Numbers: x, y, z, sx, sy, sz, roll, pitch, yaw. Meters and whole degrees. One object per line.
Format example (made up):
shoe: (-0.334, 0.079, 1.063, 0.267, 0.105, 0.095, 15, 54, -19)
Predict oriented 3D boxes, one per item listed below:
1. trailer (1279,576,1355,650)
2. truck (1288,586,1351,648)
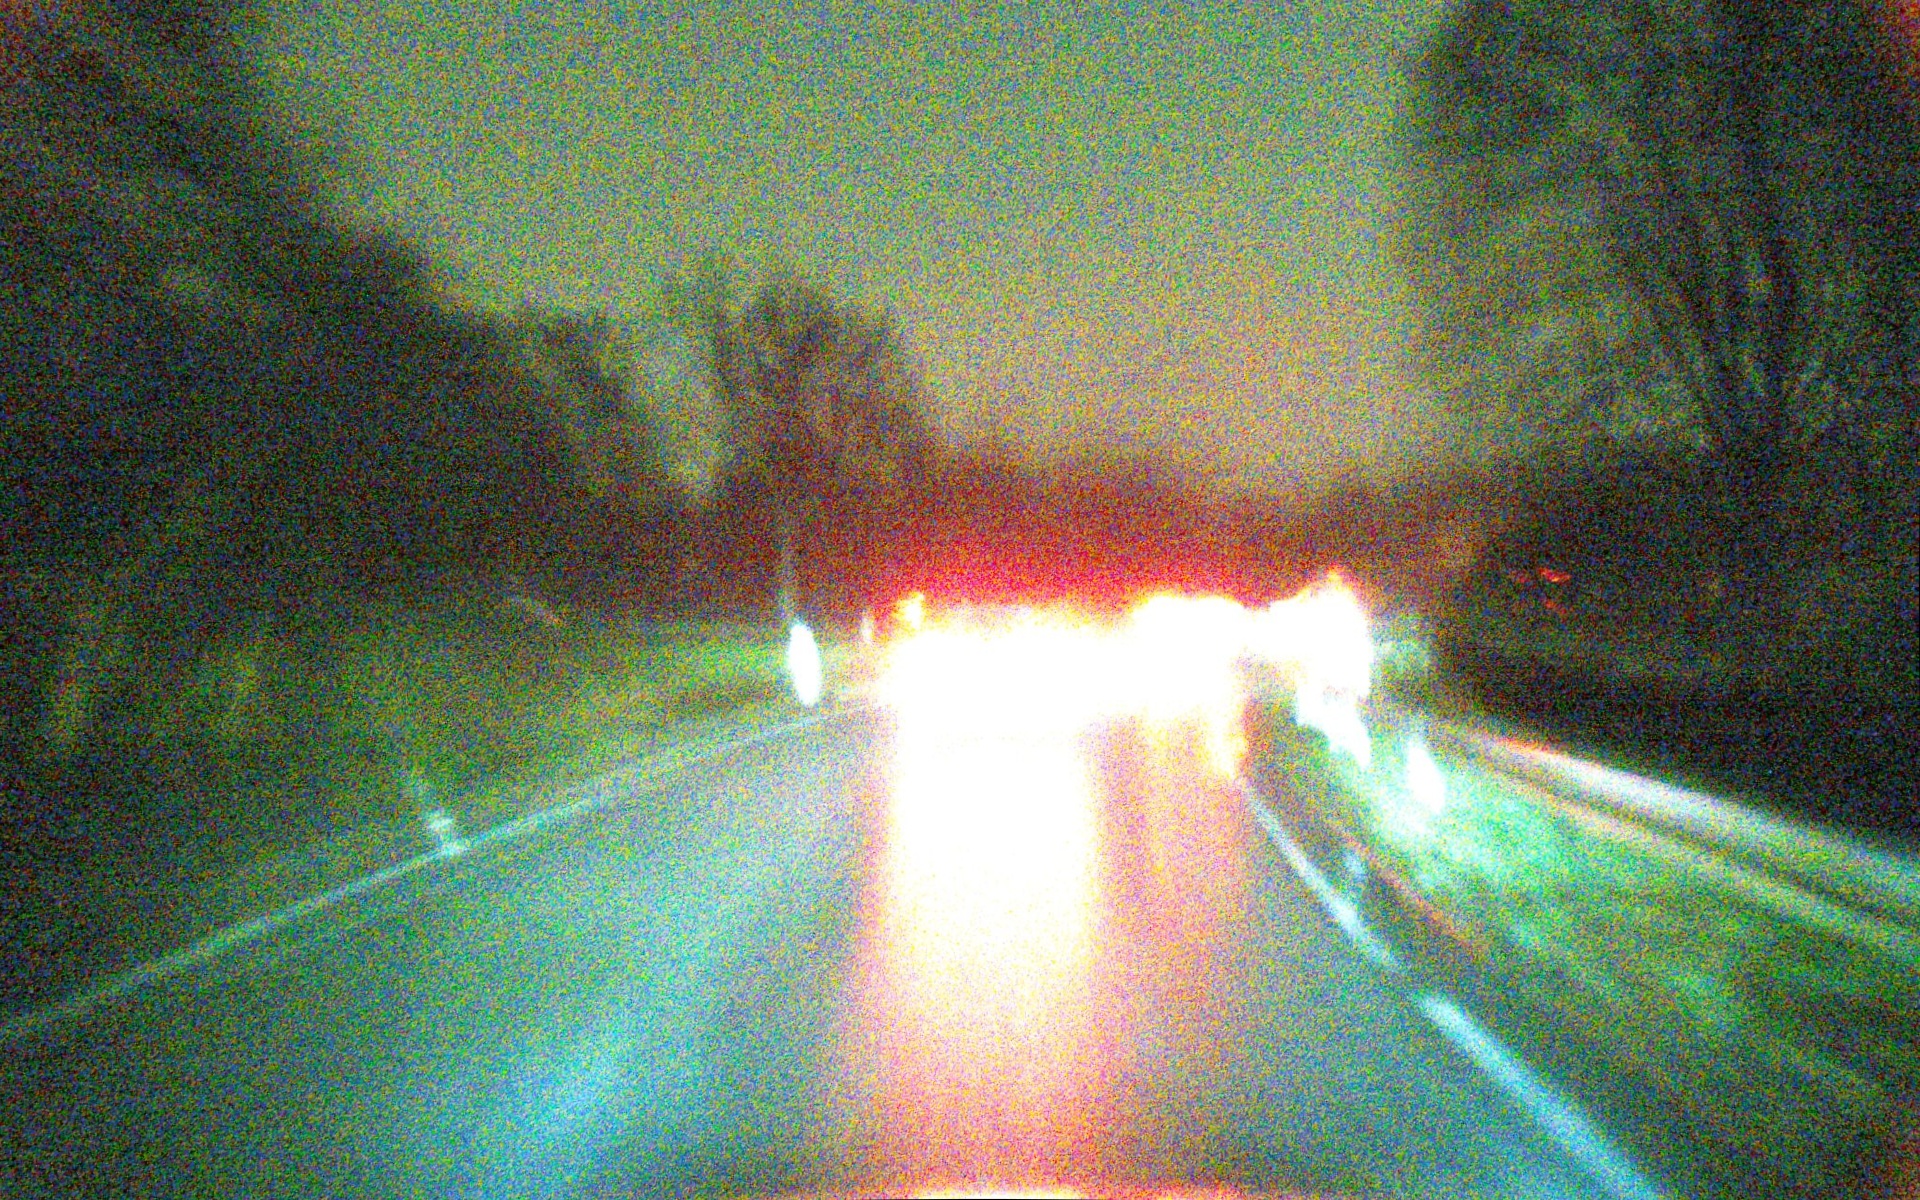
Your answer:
trailer: (11.425, 0.530, 52.702, 2.034, 2.049, 10.655, -2, -2, 13)
truck: (12.743, 0.649, 58.557, 2.026, 2.049, 4.884, -2, -2, 13)
